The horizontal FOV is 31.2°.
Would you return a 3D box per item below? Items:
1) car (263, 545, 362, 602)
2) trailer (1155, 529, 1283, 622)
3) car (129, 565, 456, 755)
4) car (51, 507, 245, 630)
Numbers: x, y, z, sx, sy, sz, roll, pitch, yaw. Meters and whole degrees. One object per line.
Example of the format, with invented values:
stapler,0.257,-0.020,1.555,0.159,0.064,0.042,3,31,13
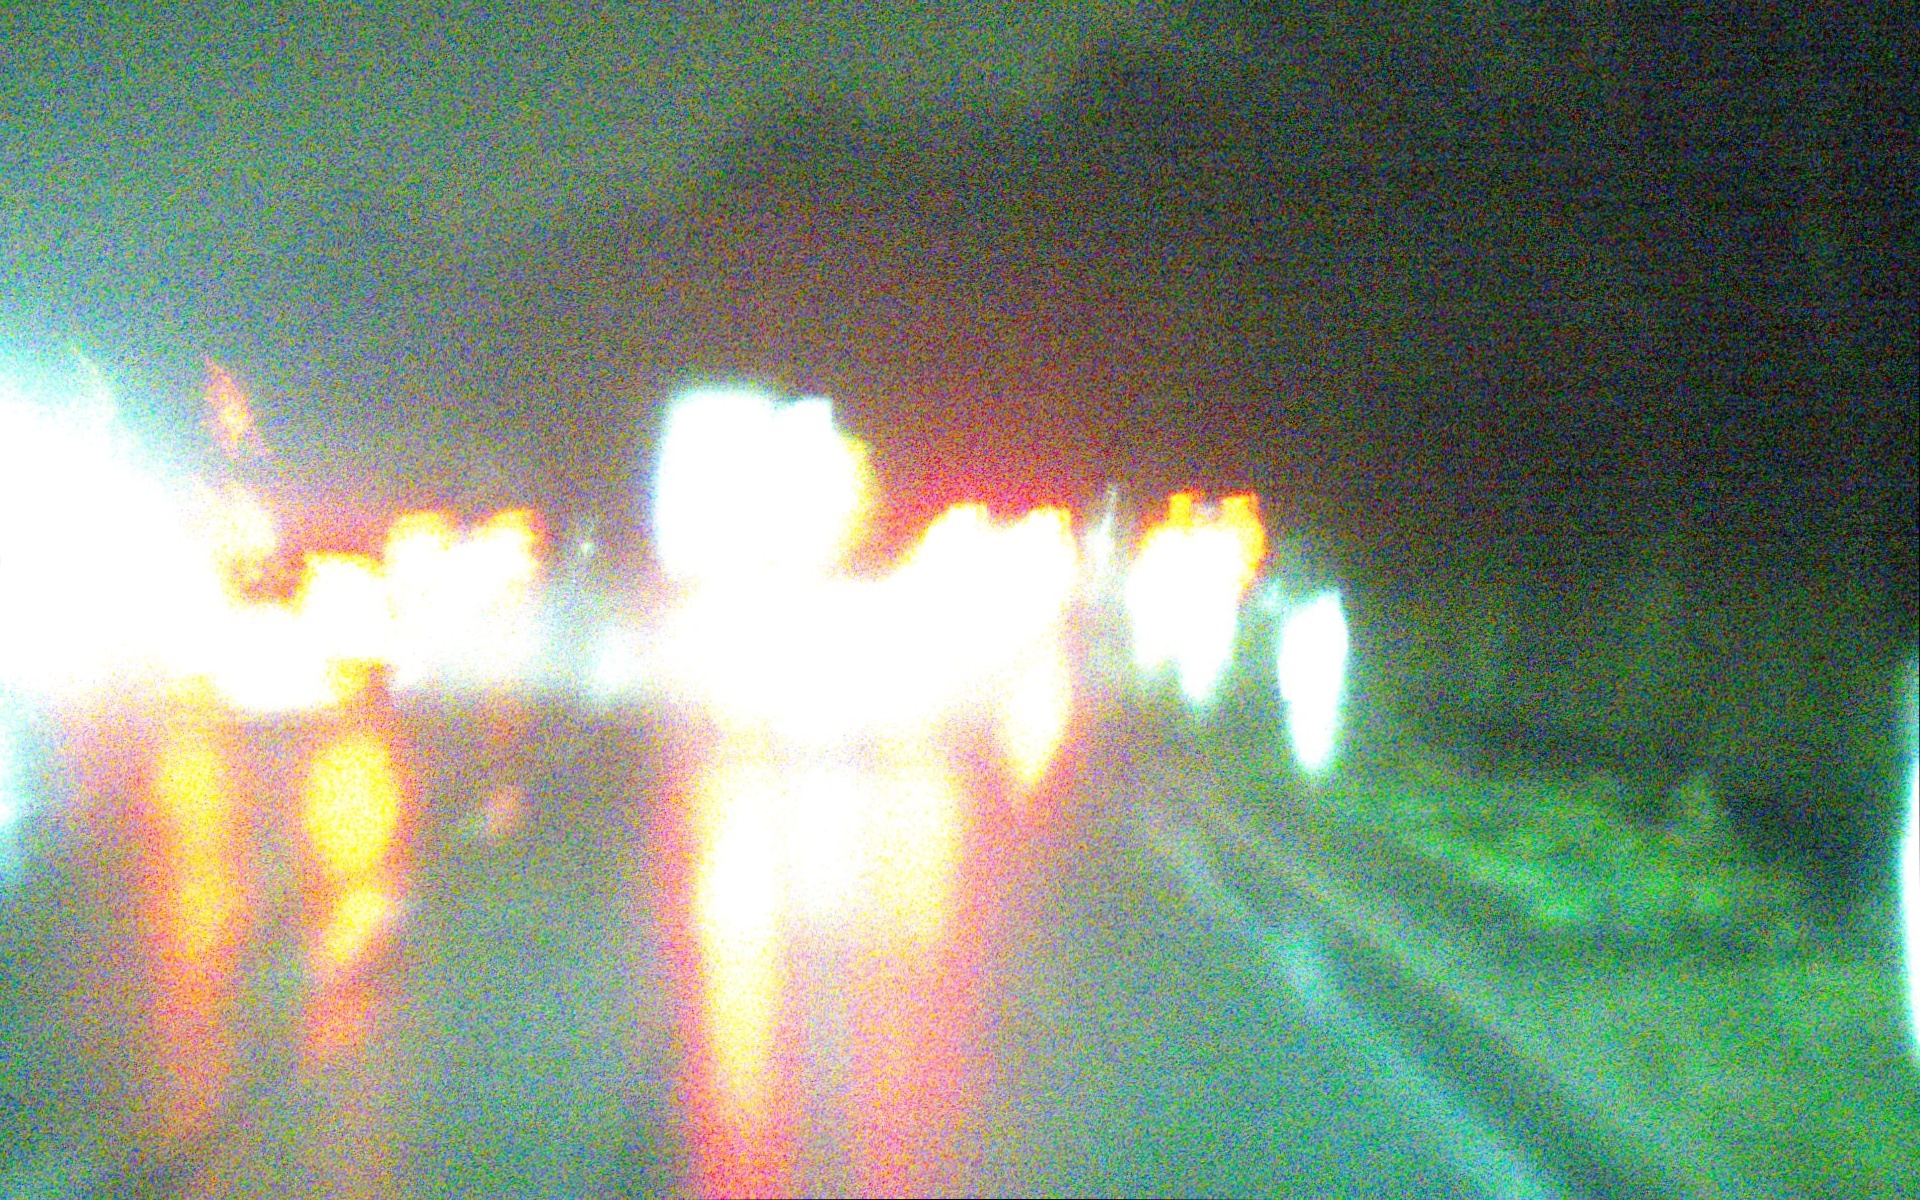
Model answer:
car,-17.995,-0.730,95.660,1.892,1.545,4.000,0,0,2
trailer,6.106,-0.556,79.738,2.079,2.007,10.643,0,0,9
car,-5.256,0.436,27.583,1.962,1.376,4.049,1,0,-2
car,-10.577,-0.428,45.069,1.767,1.512,4.916,0,1,-5
